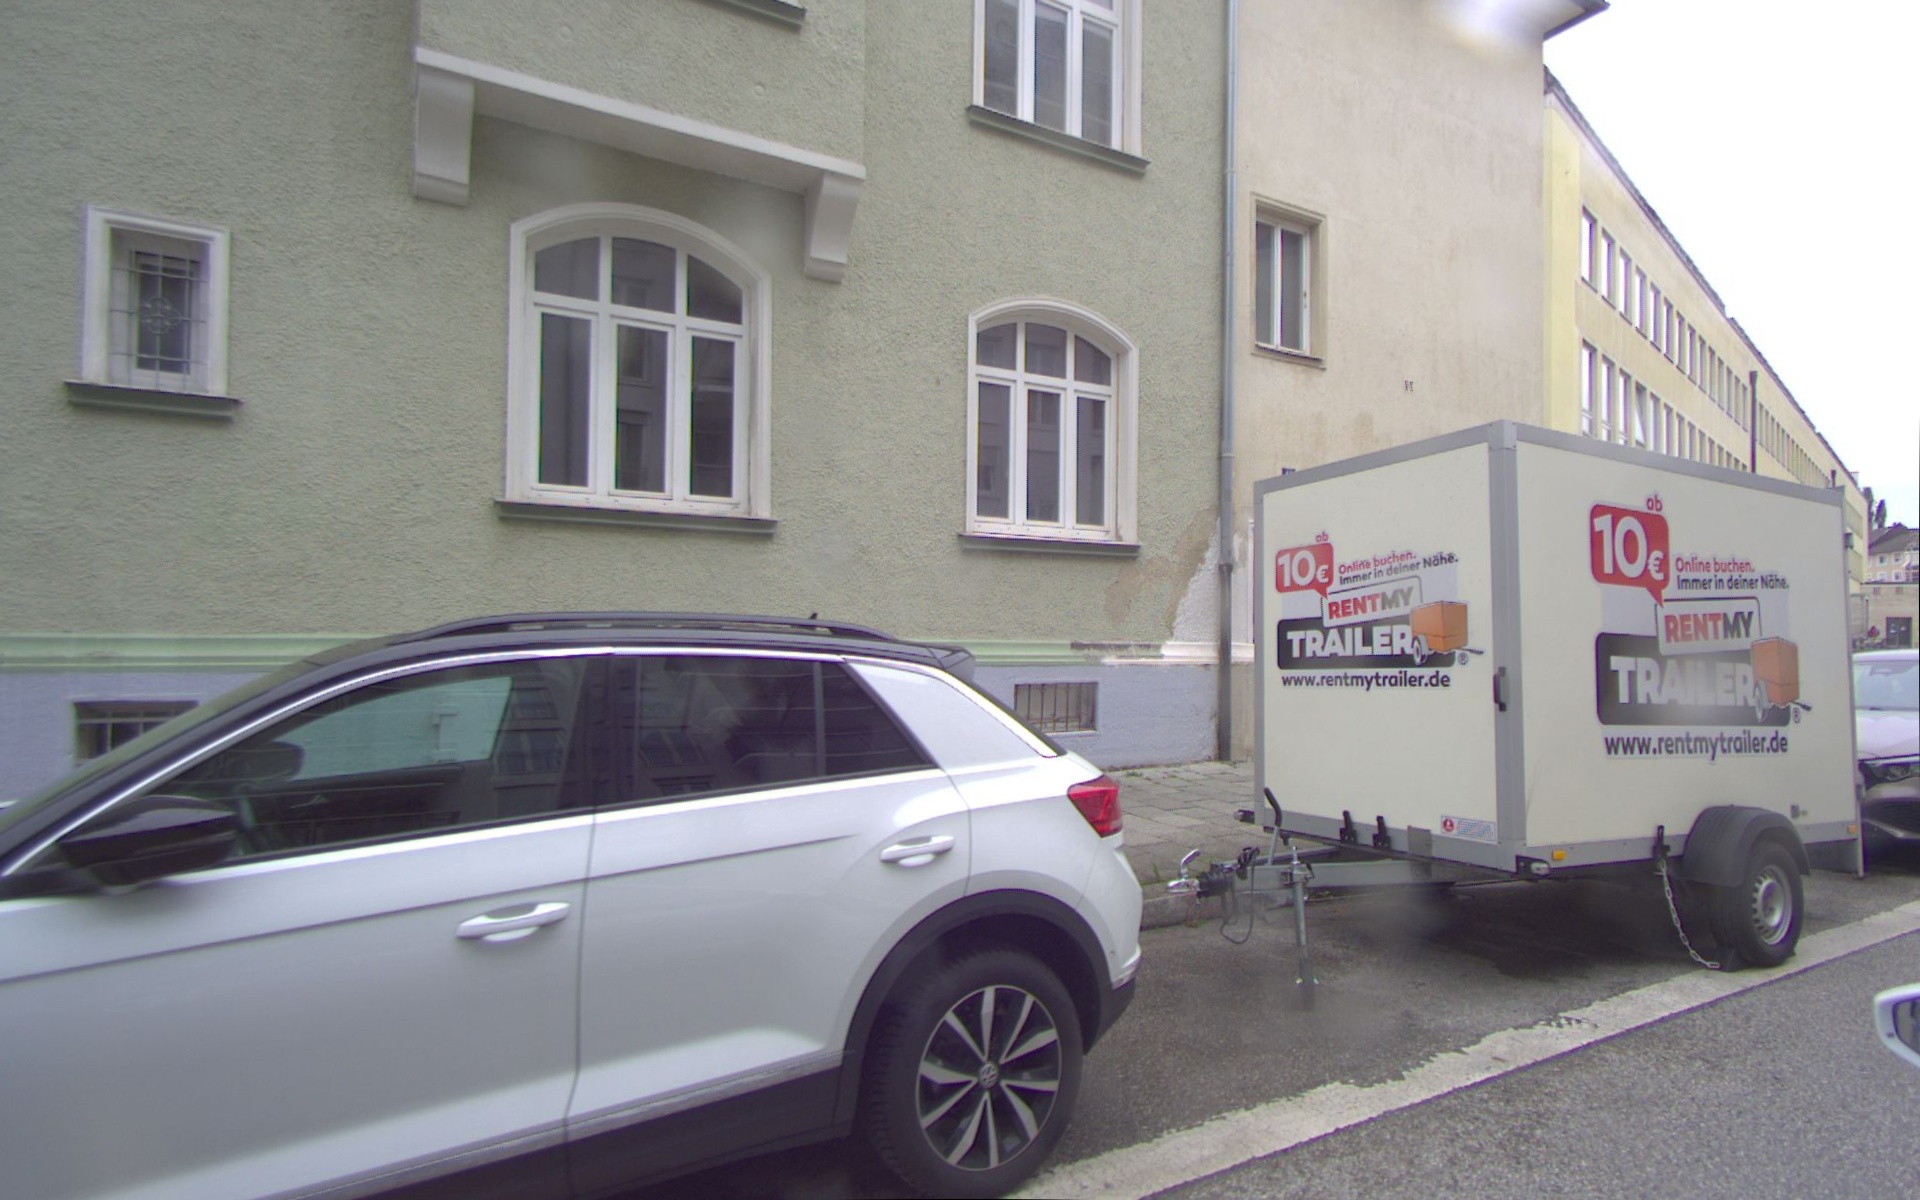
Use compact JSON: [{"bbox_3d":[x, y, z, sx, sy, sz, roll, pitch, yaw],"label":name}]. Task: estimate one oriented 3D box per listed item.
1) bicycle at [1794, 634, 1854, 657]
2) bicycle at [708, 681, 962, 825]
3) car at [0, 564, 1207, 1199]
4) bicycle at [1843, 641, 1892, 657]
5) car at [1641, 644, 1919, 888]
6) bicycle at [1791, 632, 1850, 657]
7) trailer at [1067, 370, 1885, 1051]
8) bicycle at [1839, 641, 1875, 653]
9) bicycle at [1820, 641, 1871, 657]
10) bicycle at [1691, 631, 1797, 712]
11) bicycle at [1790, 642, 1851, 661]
[{"bbox_3d":[42.016,2.203,48.862,2.181,1.051,0.492,-1,-3,42],"label":"bicycle"},{"bbox_3d":[-0.931,1.132,7.788,1.909,0.919,0.519,1,1,-34],"label":"bicycle"},{"bbox_3d":[-1.342,0.815,2.768,3.877,1.624,1.679,1,-4,-31],"label":"car"},{"bbox_3d":[54.056,2.910,59.861,2.181,0.907,0.644,-1,-3,42],"label":"bicycle"},{"bbox_3d":[7.765,1.165,8.173,4.483,1.558,1.760,2,-4,-28],"label":"car"},{"bbox_3d":[43.699,2.258,51.001,2.223,1.184,1.040,0,-1,45],"label":"bicycle"},{"bbox_3d":[2.871,0.475,5.453,4.330,2.493,1.703,1,-3,-27],"label":"trailer"},{"bbox_3d":[58.765,3.089,65.830,1.718,0.724,0.611,-1,-3,42],"label":"bicycle"},{"bbox_3d":[51.057,2.828,57.945,2.181,0.846,0.492,-1,-3,42],"label":"bicycle"},{"bbox_3d":[12.377,1.099,15.846,1.755,1.208,0.675,1,-1,-29],"label":"bicycle"},{"bbox_3d":[40.505,2.414,47.298,2.181,0.846,0.492,-1,-3,42],"label":"bicycle"}]
